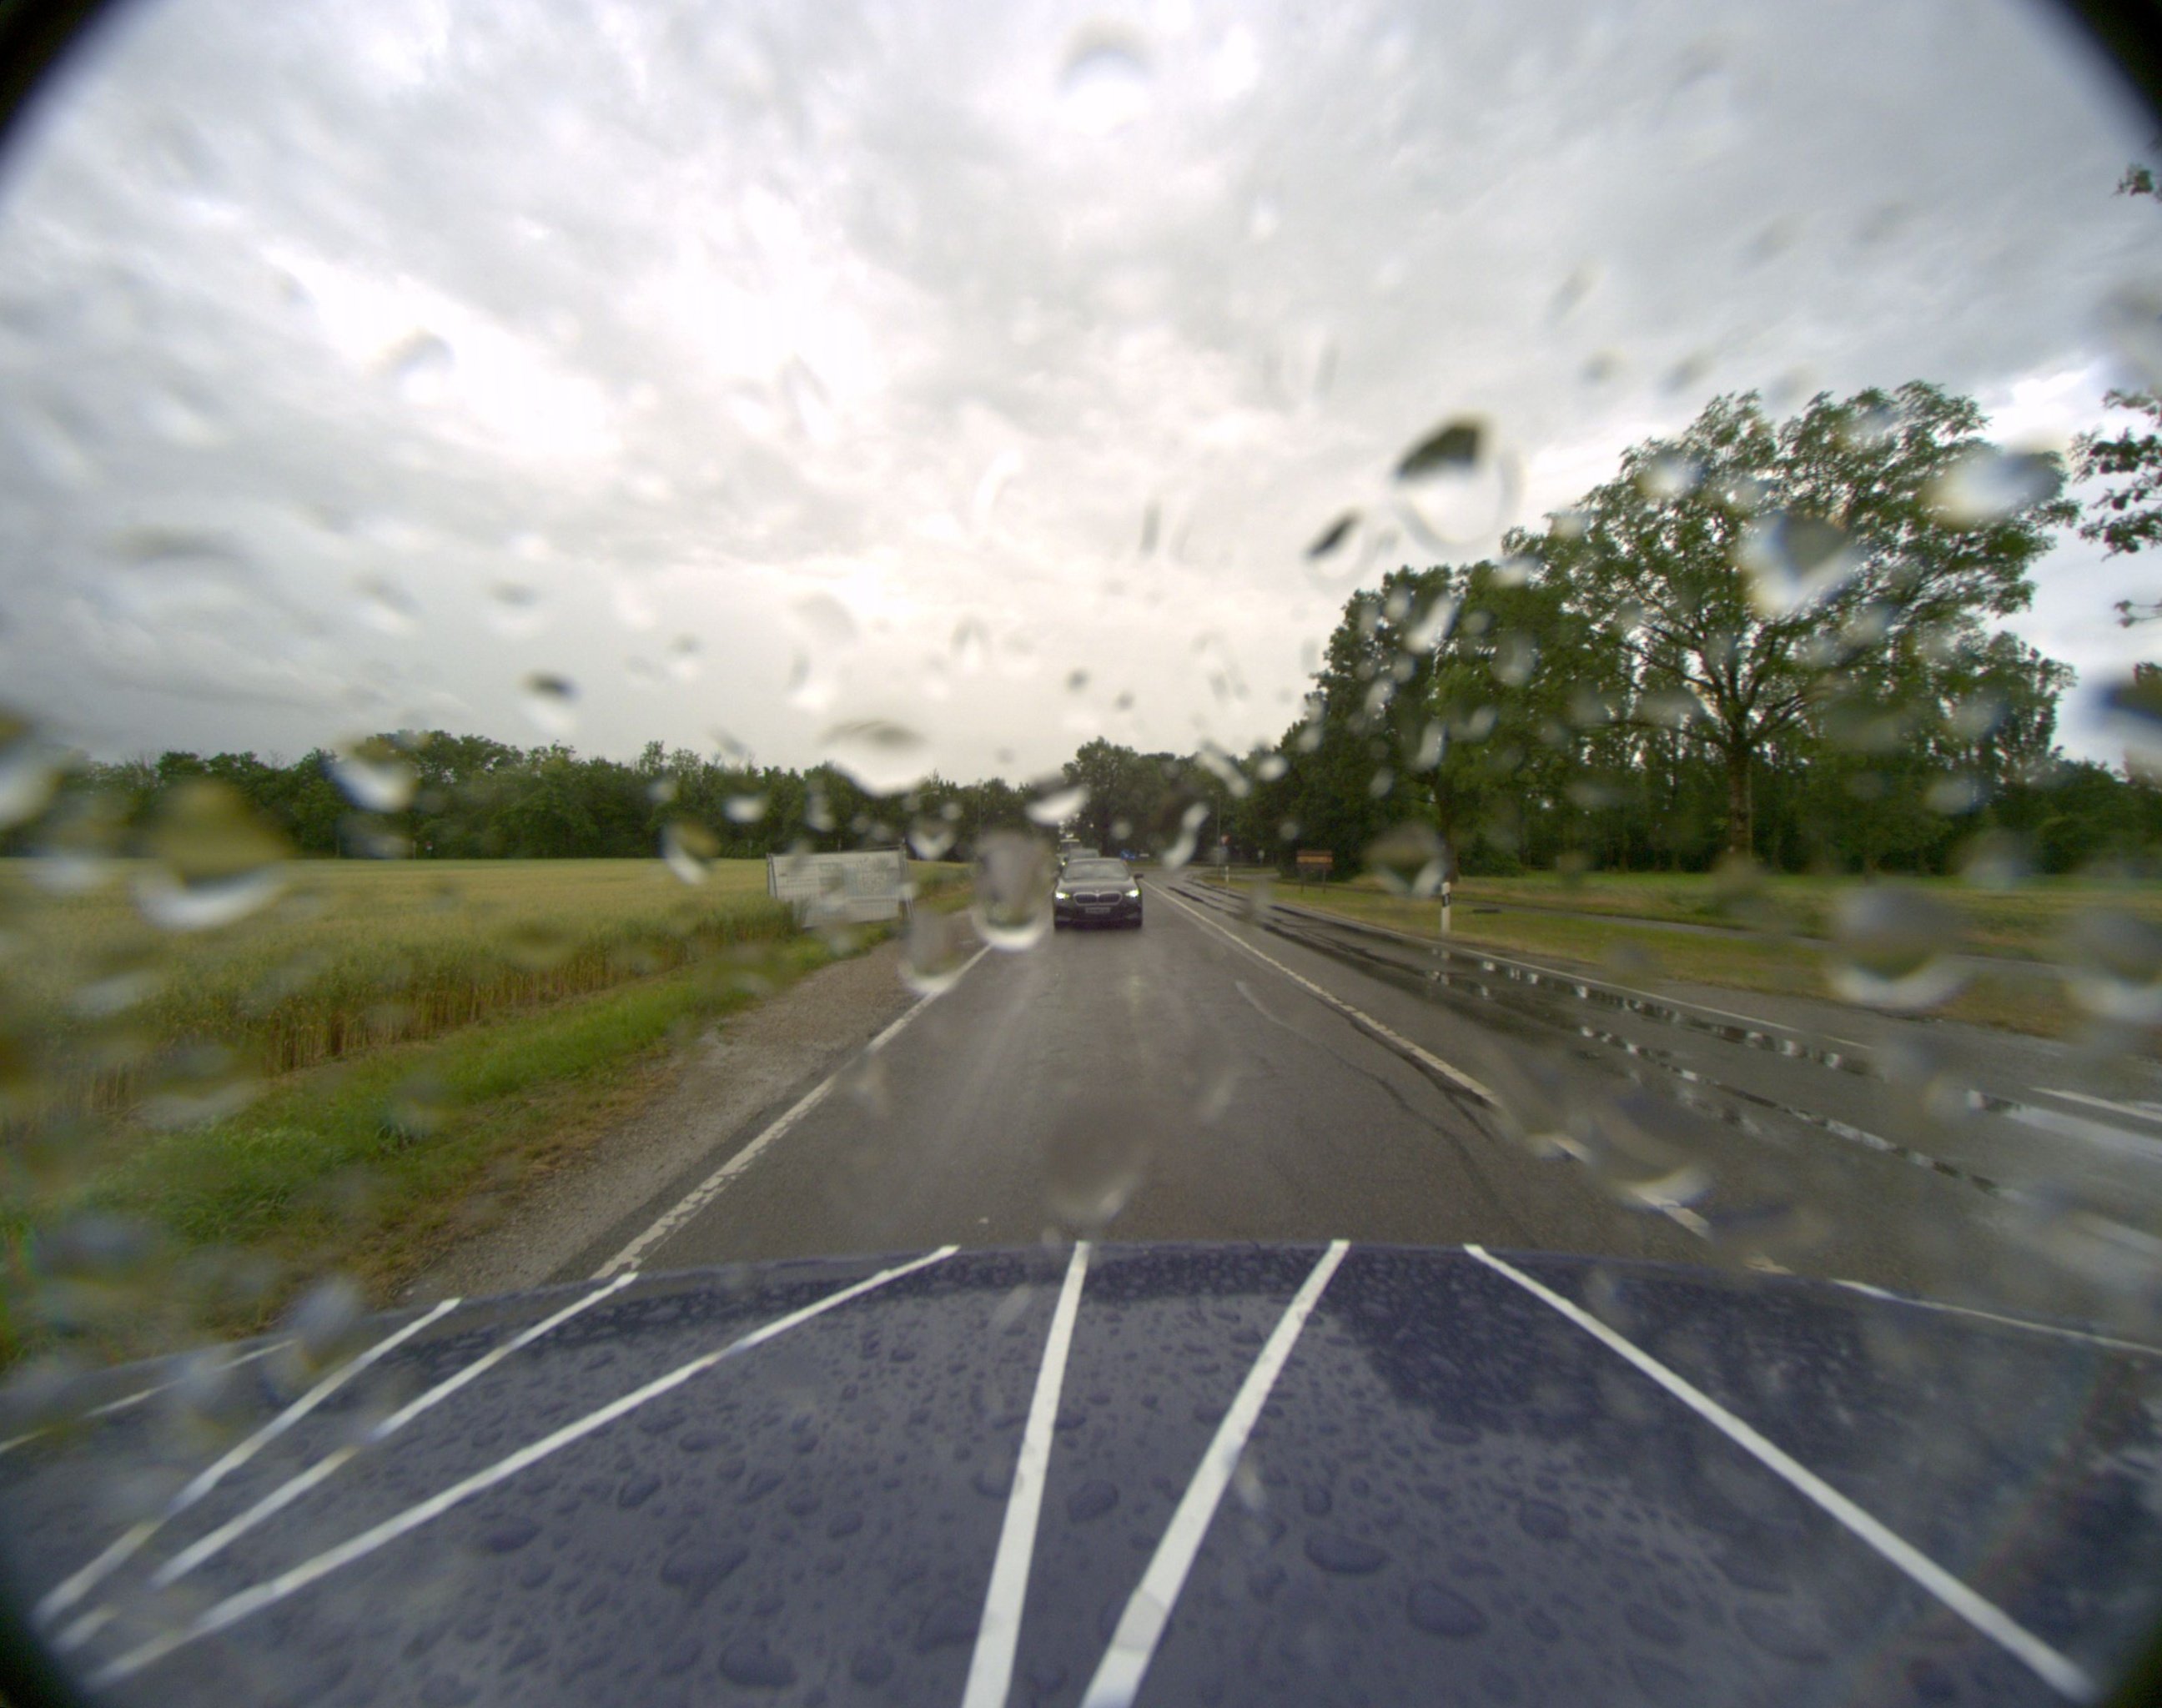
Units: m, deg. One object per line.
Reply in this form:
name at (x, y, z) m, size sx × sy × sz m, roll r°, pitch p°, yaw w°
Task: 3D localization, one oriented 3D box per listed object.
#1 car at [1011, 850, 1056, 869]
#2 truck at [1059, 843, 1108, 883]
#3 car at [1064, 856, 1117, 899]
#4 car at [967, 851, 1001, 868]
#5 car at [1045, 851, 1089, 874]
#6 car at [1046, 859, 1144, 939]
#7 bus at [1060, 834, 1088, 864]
car at (-3.954, 0.437, 62.560) m, size 1.896 × 1.522 × 4.491 m, roll -2°, pitch 0°, yaw -30°
truck at (0.054, 0.435, 42.622) m, size 2.077 × 2.050 × 5.765 m, roll -2°, pitch 1°, yaw -6°
car at (0.362, 0.867, 29.918) m, size 1.892 × 1.482 × 4.192 m, roll -2°, pitch 0°, yaw 0°
car at (-9.230, 0.539, 71.936) m, size 1.895 × 1.522 × 4.493 m, roll -1°, pitch 0°, yaw -25°
car at (-1.104, 0.600, 56.013) m, size 1.894 × 1.522 × 5.247 m, roll -1°, pitch 0°, yaw -17°
car at (0.290, 0.894, 16.811) m, size 1.892 × 1.484 × 4.035 m, roll -1°, pitch 0°, yaw 0°
bus at (-0.828, -0.649, 100.479) m, size 2.995 × 3.665 × 14.296 m, roll 1°, pitch 0°, yaw 2°
